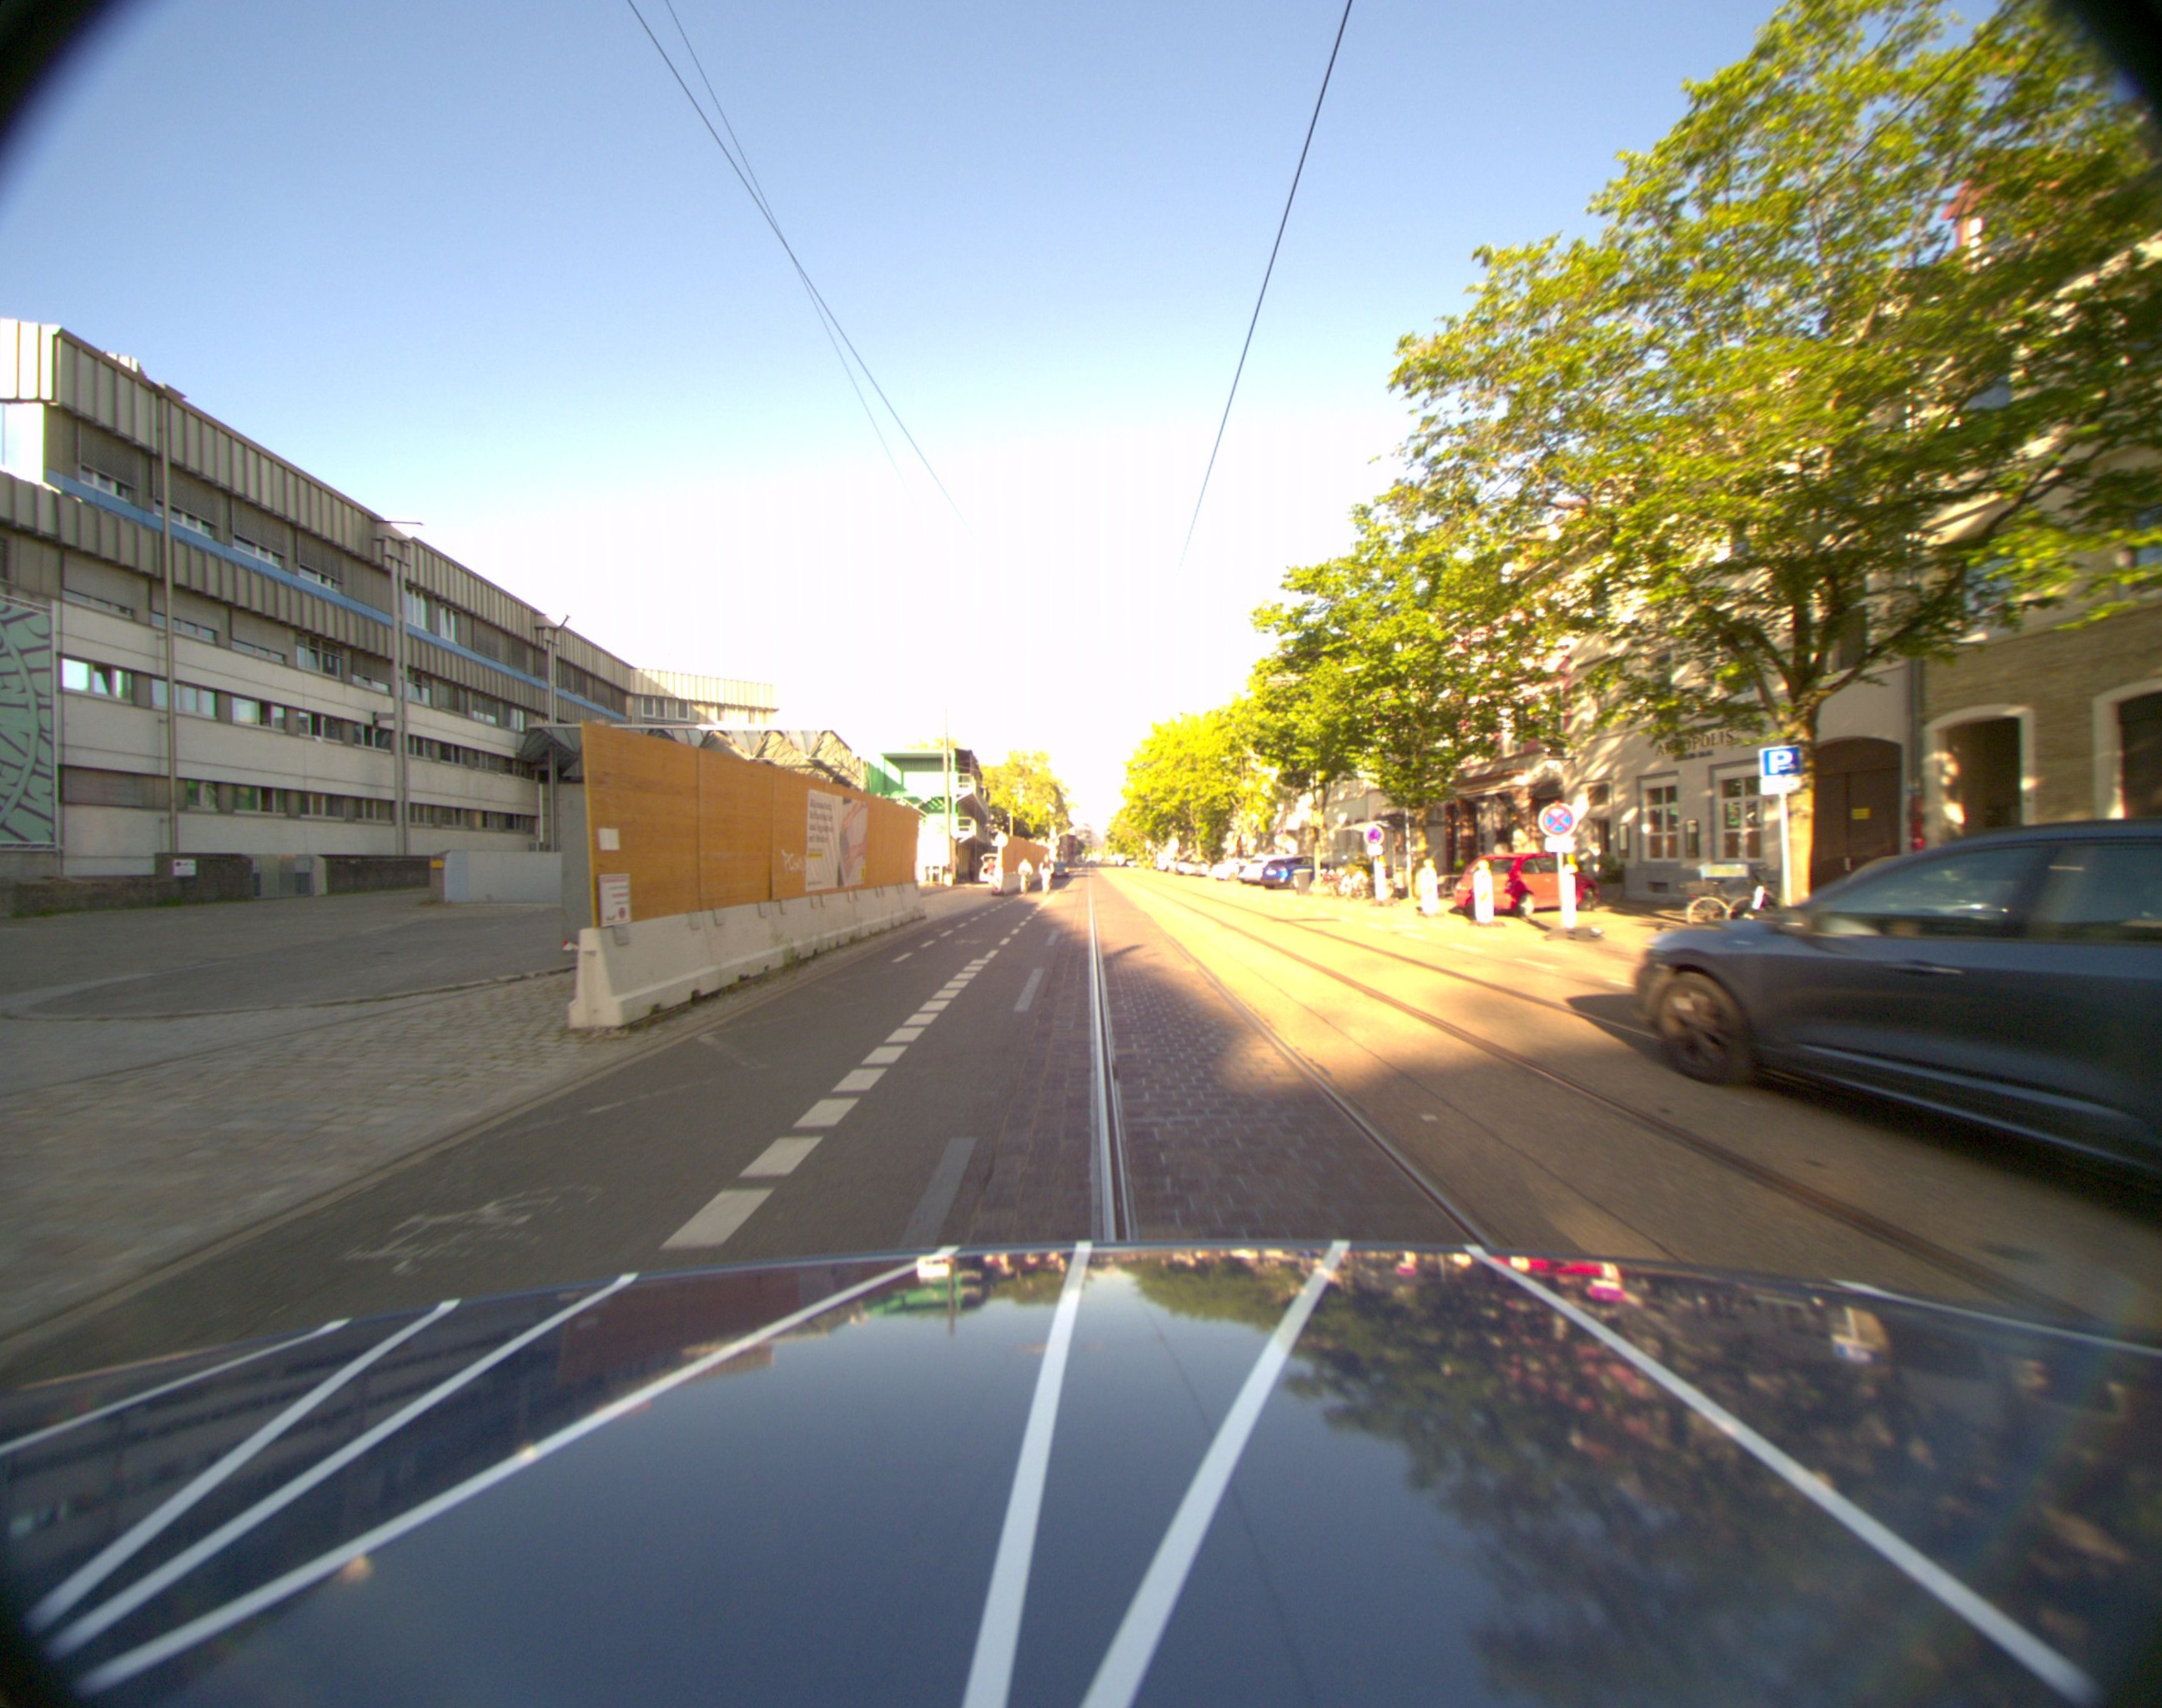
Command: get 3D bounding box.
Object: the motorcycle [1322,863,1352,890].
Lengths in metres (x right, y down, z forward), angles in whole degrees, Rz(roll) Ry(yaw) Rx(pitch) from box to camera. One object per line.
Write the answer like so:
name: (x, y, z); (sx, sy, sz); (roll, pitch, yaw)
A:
motorcycle: (12.245, 1.068, 36.255); (0.724, 1.246, 2.605); (0, 0, 33)

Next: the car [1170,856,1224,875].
car: (11.103, 1.112, 72.793); (4.841, 1.714, 2.163); (-1, 0, -2)

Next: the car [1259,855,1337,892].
car: (10.726, 0.930, 37.517); (3.909, 1.600, 1.569); (-3, 2, -35)

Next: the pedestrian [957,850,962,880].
pedestrian: (-8.243, 0.767, 51.609); (0.307, 2.033, 0.352); (-1, 0, -5)

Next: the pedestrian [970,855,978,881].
pedestrian: (-7.311, 0.973, 51.948); (0.449, 1.748, 0.377); (-1, 0, -19)

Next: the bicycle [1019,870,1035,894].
bicycle: (-2.601, 1.341, 36.735); (0.558, 1.120, 2.276); (-1, 0, 0)

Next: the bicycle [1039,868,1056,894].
bicycle: (-1.572, 1.291, 36.353); (0.669, 1.148, 2.276); (-2, 0, 0)

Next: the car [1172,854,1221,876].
car: (11.538, 1.049, 76.087); (4.448, 2.105, 2.163); (-1, 0, -2)

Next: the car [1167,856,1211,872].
car: (12.428, 1.153, 87.811); (4.708, 1.567, 1.954); (-2, 0, -4)

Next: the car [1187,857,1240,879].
car: (11.151, 1.165, 63.903); (4.003, 1.666, 1.700); (-1, 0, -19)

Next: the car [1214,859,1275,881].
car: (11.253, 1.088, 52.344); (3.651, 1.520, 1.883); (0, 0, -19)

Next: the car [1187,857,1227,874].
car: (11.587, 1.068, 69.977); (3.374, 1.544, 1.383); (0, 0, -7)

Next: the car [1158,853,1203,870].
car: (12.018, 0.937, 91.898); (4.941, 2.002, 2.073); (0, 0, -8)

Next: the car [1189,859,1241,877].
car: (11.748, 1.206, 66.776); (4.174, 1.543, 1.700); (0, 0, -15)

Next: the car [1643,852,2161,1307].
car: (4.876, 0.818, 3.179); (1.932, 1.620, 4.248); (0, 1, 1)

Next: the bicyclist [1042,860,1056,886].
bicyclist: (-1.528, 0.904, 36.081); (0.653, 1.230, 0.353); (0, 0, -1)

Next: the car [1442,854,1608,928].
car: (10.871, 0.855, 18.601); (3.629, 1.544, 1.666); (-2, -1, -25)

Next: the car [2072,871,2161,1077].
car: (10.353, 0.953, 6.454); (3.689, 1.462, 1.749); (-3, 1, -28)

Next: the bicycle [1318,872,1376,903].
bicycle: (10.155, 1.280, 29.085); (1.972, 1.073, 0.568); (-3, 0, 3)

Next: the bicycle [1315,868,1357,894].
bicycle: (10.347, 1.090, 30.825); (1.605, 0.982, 0.388); (-2, 0, -10)

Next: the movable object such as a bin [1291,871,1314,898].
movable object such as a bin: (9.117, 1.252, 31.300); (0.685, 1.071, 0.710); (-4, 0, 2)

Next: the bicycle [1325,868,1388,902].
bicycle: (10.042, 1.133, 27.758); (2.007, 1.081, 0.567); (-5, 0, 3)

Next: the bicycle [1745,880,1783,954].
bicycle: (11.017, 0.978, 12.242); (1.597, 1.089, 0.332); (0, 0, -44)

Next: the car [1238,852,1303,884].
car: (11.348, 0.835, 45.482); (3.451, 1.832, 1.730); (0, 0, -26)

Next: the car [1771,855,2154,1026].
car: (10.484, 0.850, 9.027); (4.208, 1.482, 1.940); (-2, 0, -26)

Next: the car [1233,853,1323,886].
car: (11.180, 0.838, 43.013); (4.949, 1.784, 2.203); (-1, 0, -34)

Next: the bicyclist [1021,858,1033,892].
bicyclist: (-2.596, 0.988, 36.490); (0.557, 1.603, 0.576); (0, 0, -1)

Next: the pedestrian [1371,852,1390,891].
pedestrian: (14.224, 0.839, 36.088); (0.645, 1.827, 0.624); (0, 0, 2)
